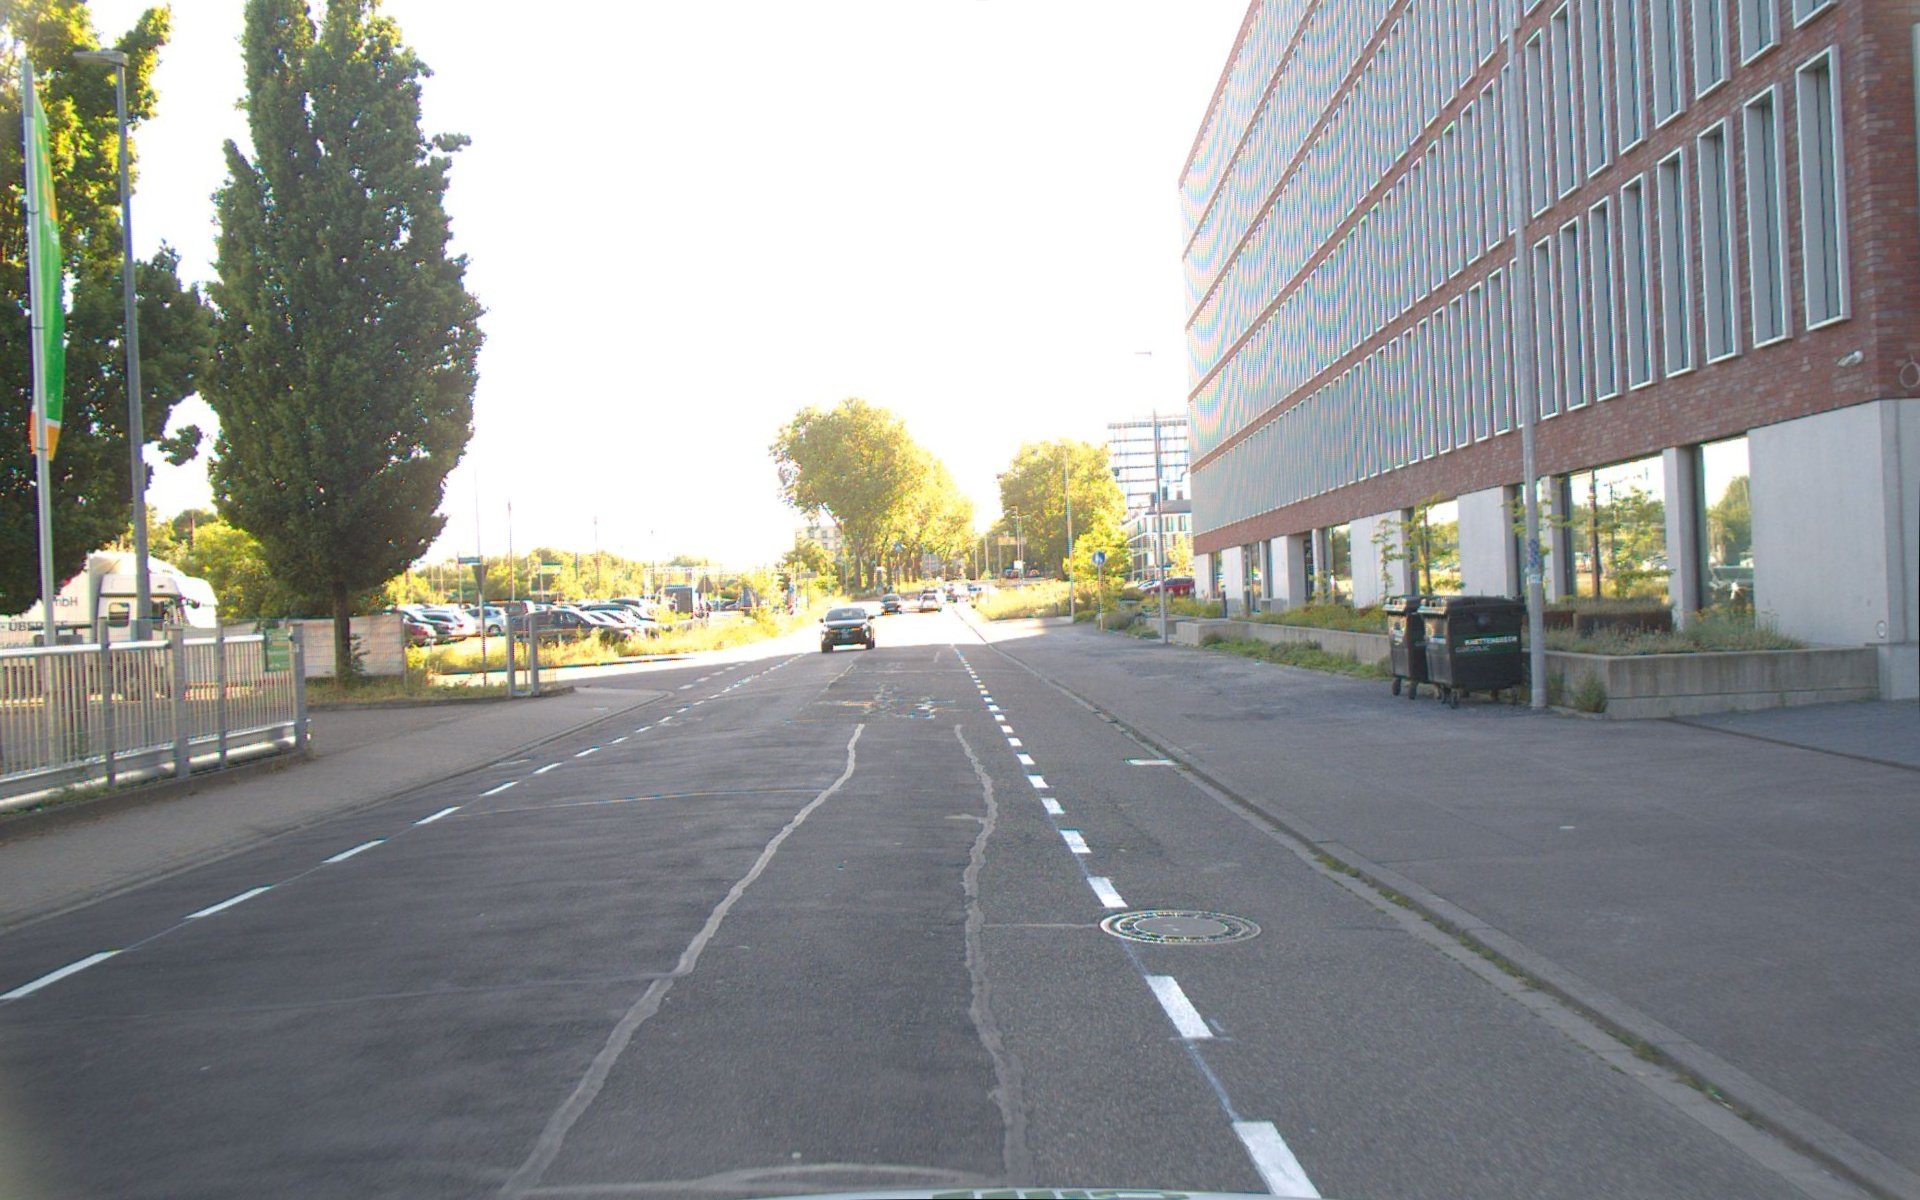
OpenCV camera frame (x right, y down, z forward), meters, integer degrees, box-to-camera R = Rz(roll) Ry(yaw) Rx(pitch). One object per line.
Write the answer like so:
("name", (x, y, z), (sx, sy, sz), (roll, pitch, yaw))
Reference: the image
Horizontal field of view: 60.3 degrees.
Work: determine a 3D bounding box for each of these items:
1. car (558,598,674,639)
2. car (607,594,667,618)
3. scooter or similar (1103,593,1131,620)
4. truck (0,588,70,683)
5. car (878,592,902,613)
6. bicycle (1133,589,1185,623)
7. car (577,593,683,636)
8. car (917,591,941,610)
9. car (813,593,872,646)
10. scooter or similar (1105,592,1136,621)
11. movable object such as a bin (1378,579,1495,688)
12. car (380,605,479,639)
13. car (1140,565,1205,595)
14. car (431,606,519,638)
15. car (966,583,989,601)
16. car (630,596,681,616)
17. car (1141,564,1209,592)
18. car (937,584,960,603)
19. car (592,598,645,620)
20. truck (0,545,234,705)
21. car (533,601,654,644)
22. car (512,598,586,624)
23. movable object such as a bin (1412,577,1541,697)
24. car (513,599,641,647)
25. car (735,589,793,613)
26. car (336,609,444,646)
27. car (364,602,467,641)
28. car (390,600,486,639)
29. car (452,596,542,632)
("car", (-14.371, 0.773, 69.303), (4.338, 1.487, 2.048), (-2, 0, 0))
("car", (-26.925, 0.505, 137.823), (4.485, 1.771, 2.059), (-2, 1, 2))
("scooter or similar", (7.269, 0.293, 76.477), (1.217, 1.176, 0.366), (-2, 0, 3))
("truck", (-31.811, 1.221, 51.874), (6.366, 2.856, 2.315), (-3, 0, -3))
("car", (-5.465, 0.196, 129.605), (1.620, 1.529, 3.999), (-4, 0, -1))
("bicycle", (7.617, 0.233, 63.253), (1.895, 1.190, 0.374), (-4, 0, -8))
("car", (-14.895, 0.649, 74.854), (4.338, 1.699, 2.048), (-2, 0, 0))
("car", (-2.466, 0.031, 132.055), (1.753, 1.445, 4.000), (-2, 1, 0))
("car", (-3.988, 0.640, 56.683), (1.706, 1.552, 4.110), (-6, 1, -2))
("scooter or similar", (7.258, 0.281, 74.920), (1.312, 1.267, 0.424), (-2, 0, 3))
("movable object such as a bin", (6.394, 0.435, 22.284), (1.106, 1.359, 1.345), (-3, 0, -2))
("car", (-25.230, 1.041, 78.798), (4.079, 1.421, 2.046), (-3, 0, -5))
("car", (14.263, -1.315, 110.980), (4.097, 1.608, 1.851), (-3, -6, 2))
("car", (-26.594, 1.208, 90.777), (4.278, 1.572, 1.857), (-2, 1, -1))
("car", (1.741, -0.775, 166.276), (2.119, 1.713, 4.001), (-2, 0, 2))
("car", (-27.386, 0.506, 148.773), (4.235, 1.646, 1.878), (-2, 1, -2))
("car", (13.499, -1.401, 103.989), (4.097, 1.608, 1.852), (-2, 1, 2))
("car", (-1.143, -0.621, 160.780), (2.119, 1.713, 4.000), (-2, 0, 0))
("car", (-26.924, 0.694, 130.563), (3.805, 1.631, 1.878), (-2, 1, -2))
("truck", (-23.518, 0.690, 40.727), (9.896, 3.678, 2.774), (-2, -1, -2))
("car", (-14.605, 0.898, 66.057), (4.338, 1.487, 2.048), (-2, 0, 0))
("car", (-26.454, 0.699, 106.449), (4.233, 1.550, 1.878), (-2, 1, -1))
("movable object such as a bin", (6.430, 0.446, 20.662), (1.106, 1.395, 1.345), (-3, 0, -2))
("car", (-14.574, 0.875, 63.152), (4.338, 1.608, 2.048), (-2, 0, 0))
("car", (-16.968, 0.097, 143.340), (4.748, 1.866, 1.999), (-2, 1, -2))
("car", (-25.206, 1.220, 73.312), (4.079, 1.421, 2.046), (-3, 0, -5))
("car", (-25.097, 0.969, 76.357), (4.079, 1.606, 2.046), (-3, 0, -5))
("car", (-25.557, 0.930, 81.100), (4.078, 1.691, 1.965), (-3, 0, -4))
("car", (-26.055, 0.788, 93.169), (4.483, 1.836, 1.857), (-2, 1, -1))
